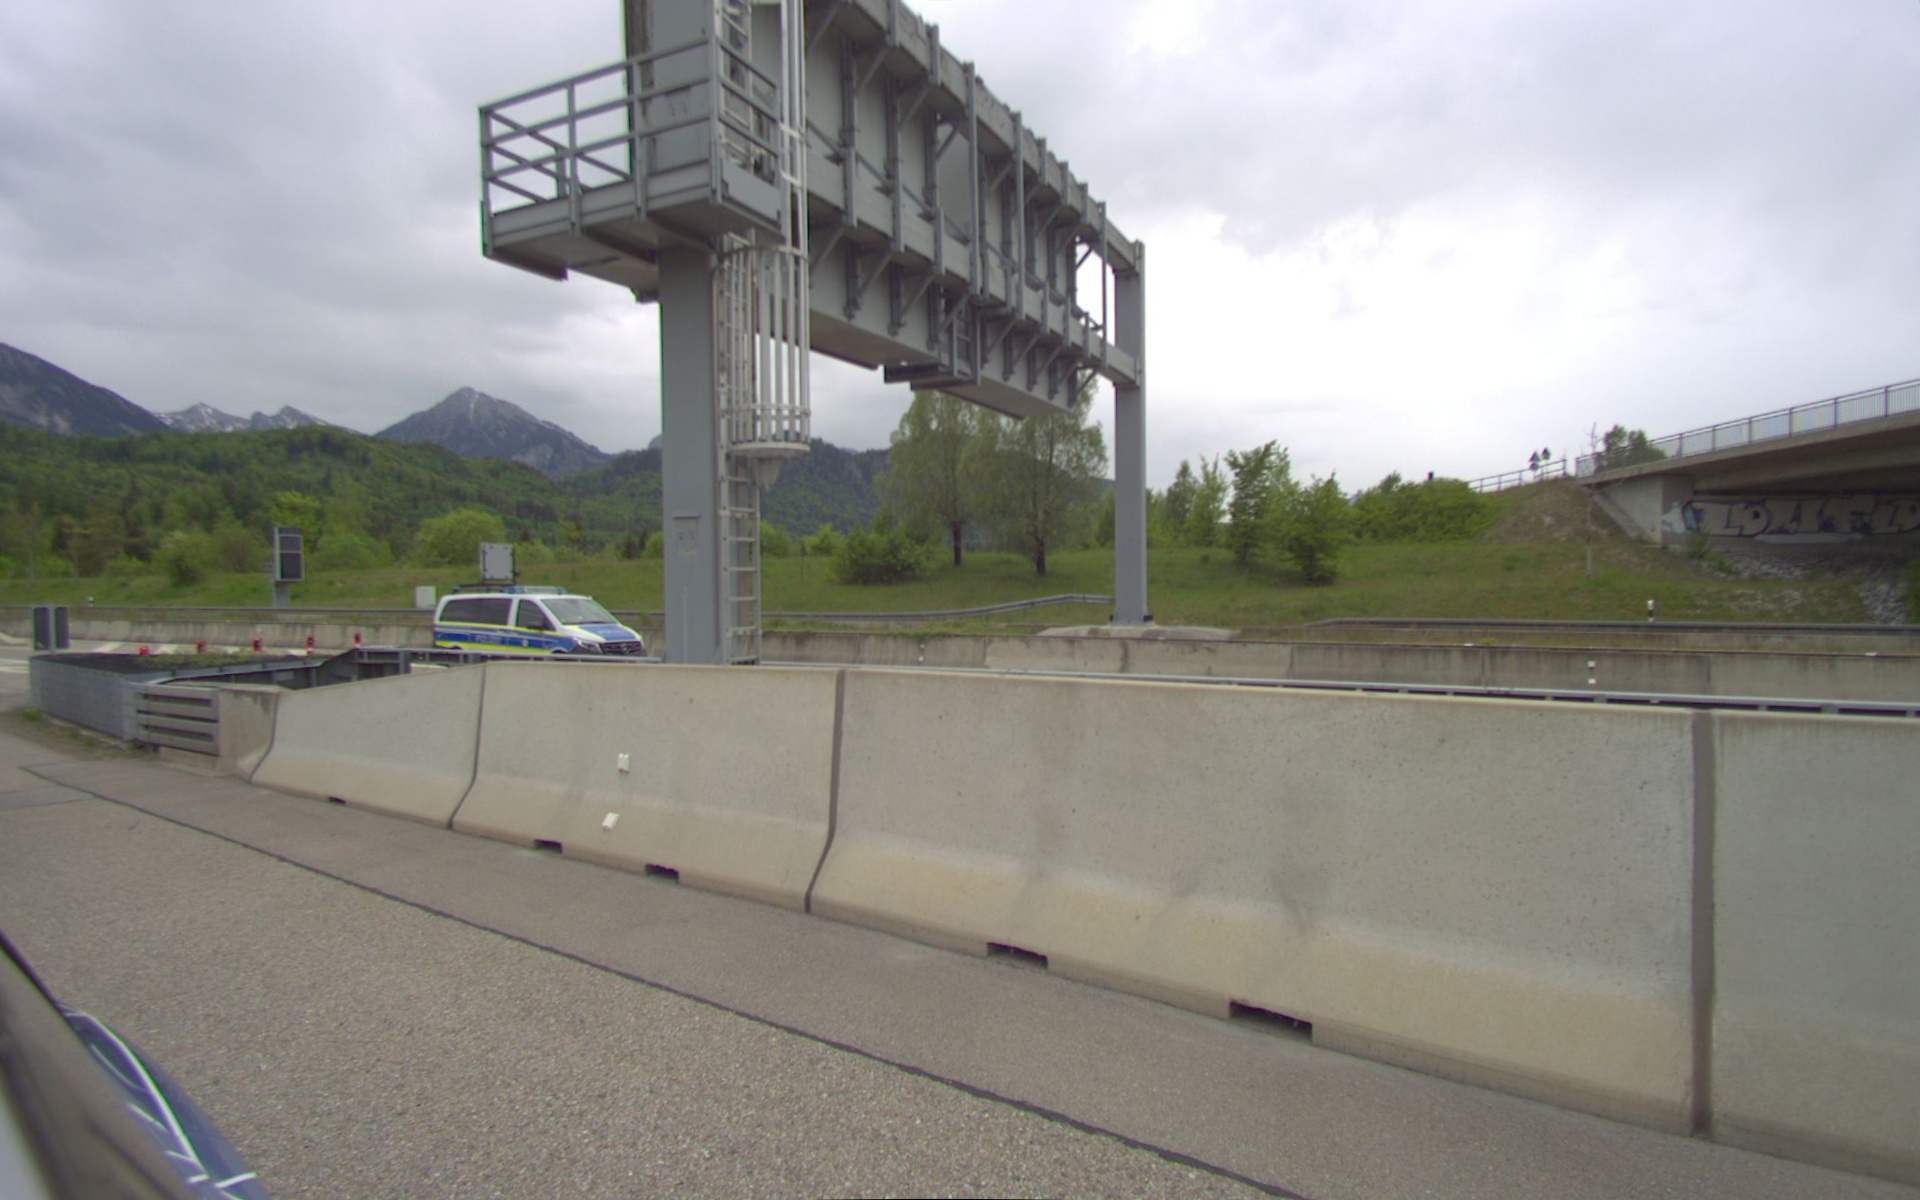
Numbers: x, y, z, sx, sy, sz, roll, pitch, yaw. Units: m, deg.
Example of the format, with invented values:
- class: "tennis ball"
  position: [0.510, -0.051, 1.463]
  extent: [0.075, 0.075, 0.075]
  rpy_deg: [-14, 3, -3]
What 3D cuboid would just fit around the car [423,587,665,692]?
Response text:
- class: "car"
  position: [-8.944, 0.791, 21.695]
  extent: [5.028, 2.029, 2.085]
  rpy_deg: [0, -1, 28]
